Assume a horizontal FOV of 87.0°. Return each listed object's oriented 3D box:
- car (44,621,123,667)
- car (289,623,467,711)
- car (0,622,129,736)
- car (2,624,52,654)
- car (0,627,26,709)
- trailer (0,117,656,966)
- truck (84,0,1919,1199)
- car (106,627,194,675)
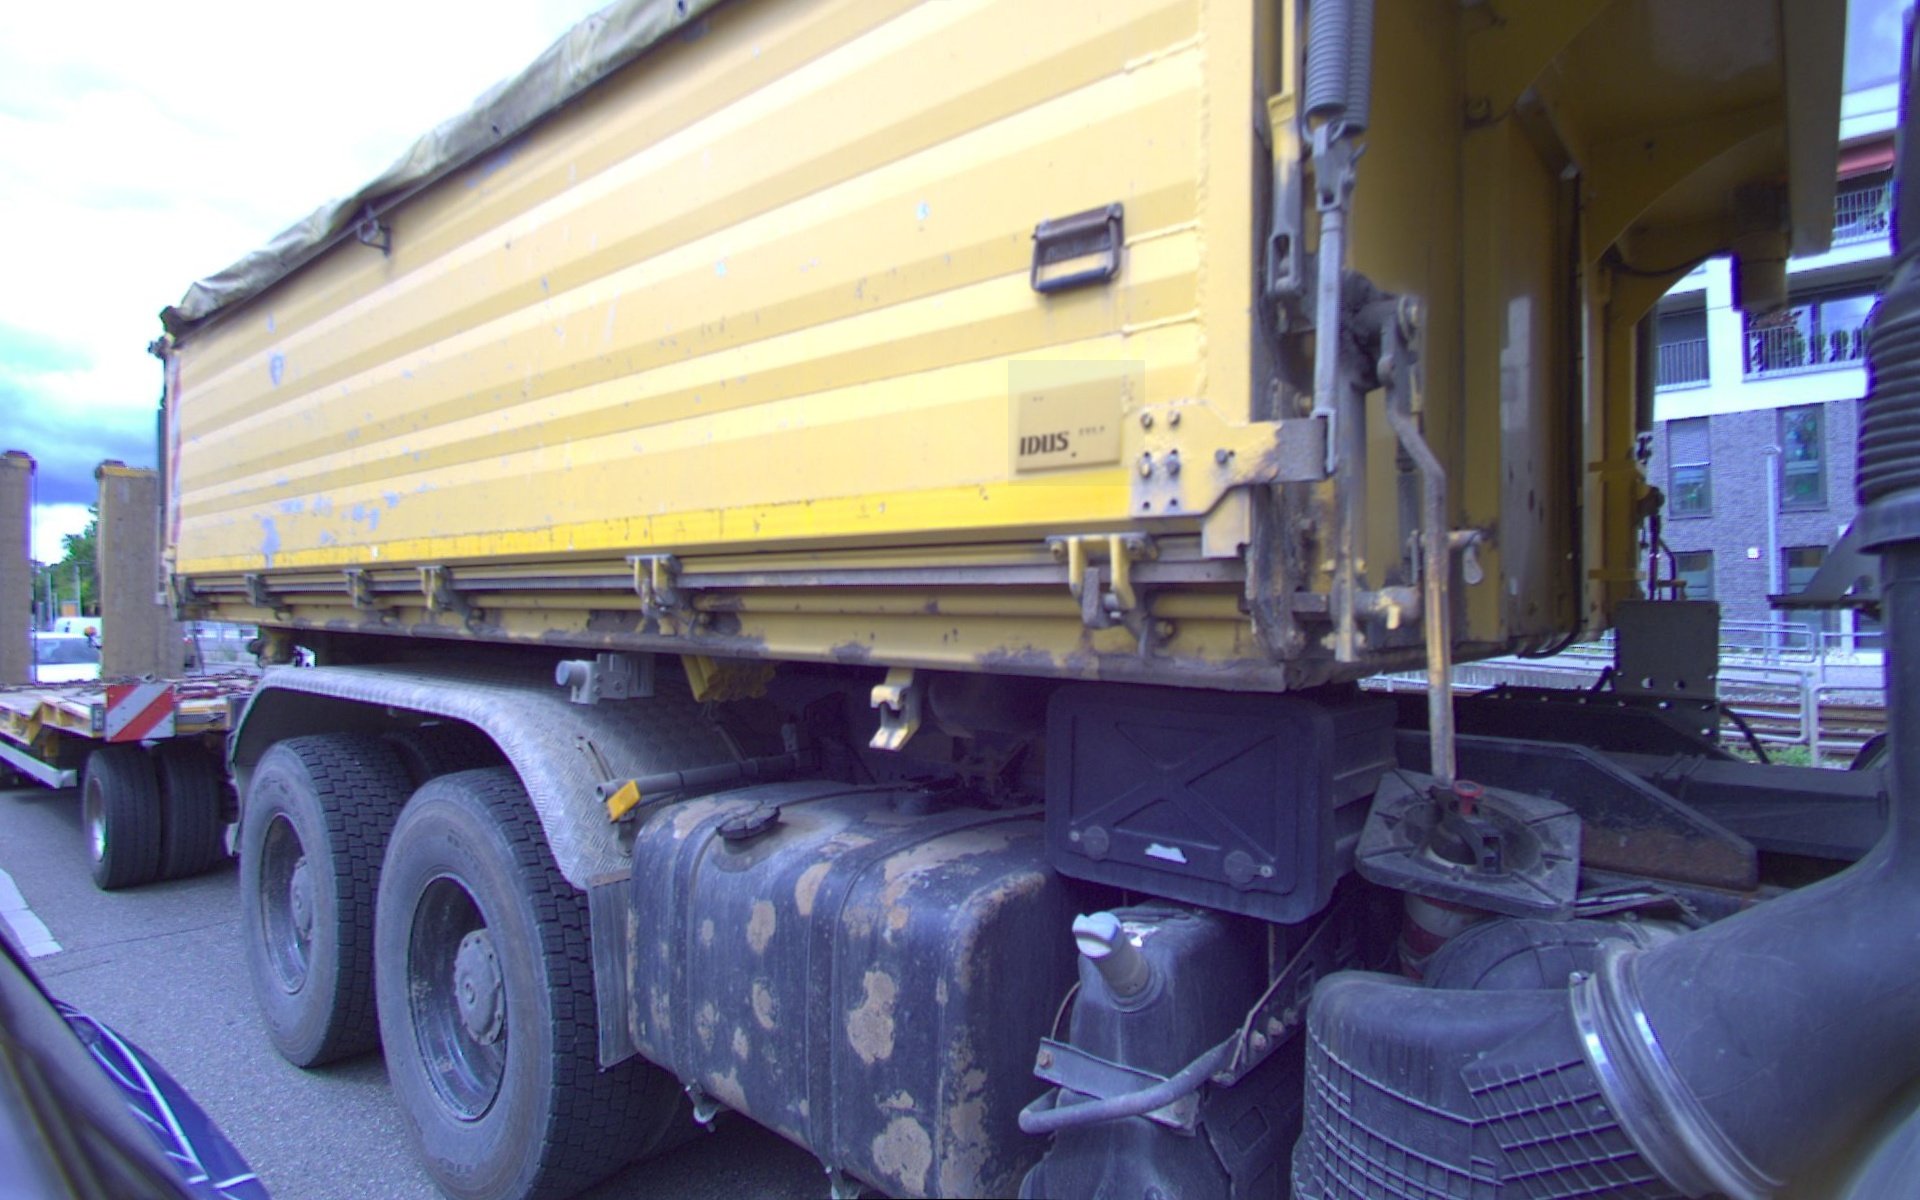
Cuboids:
[{"bbox_3d":[-36.527,1.816,42.126,4.861,1.785,1.863,-2,-1,41],"label":"car"},{"bbox_3d":[-11.194,1.209,19.339,4.277,1.452,1.743,-2,-1,43],"label":"car"},{"bbox_3d":[-14.204,1.118,15.496,3.998,1.490,1.671,-1,0,41],"label":"car"},{"bbox_3d":[-50.634,2.096,54.917,3.552,1.509,1.623,-2,-1,41],"label":"car"},{"bbox_3d":[-19.620,1.300,19.723,3.998,1.490,1.671,-1,0,41],"label":"car"},{"bbox_3d":[-6.874,-0.150,8.849,10.909,3.548,2.678,-2,-1,41],"label":"trailer"},{"bbox_3d":[0.144,-0.053,2.682,7.775,3.026,2.692,-1,0,41],"label":"truck"},{"bbox_3d":[-26.798,1.652,33.462,3.564,1.469,1.683,-2,-1,41],"label":"car"}]
